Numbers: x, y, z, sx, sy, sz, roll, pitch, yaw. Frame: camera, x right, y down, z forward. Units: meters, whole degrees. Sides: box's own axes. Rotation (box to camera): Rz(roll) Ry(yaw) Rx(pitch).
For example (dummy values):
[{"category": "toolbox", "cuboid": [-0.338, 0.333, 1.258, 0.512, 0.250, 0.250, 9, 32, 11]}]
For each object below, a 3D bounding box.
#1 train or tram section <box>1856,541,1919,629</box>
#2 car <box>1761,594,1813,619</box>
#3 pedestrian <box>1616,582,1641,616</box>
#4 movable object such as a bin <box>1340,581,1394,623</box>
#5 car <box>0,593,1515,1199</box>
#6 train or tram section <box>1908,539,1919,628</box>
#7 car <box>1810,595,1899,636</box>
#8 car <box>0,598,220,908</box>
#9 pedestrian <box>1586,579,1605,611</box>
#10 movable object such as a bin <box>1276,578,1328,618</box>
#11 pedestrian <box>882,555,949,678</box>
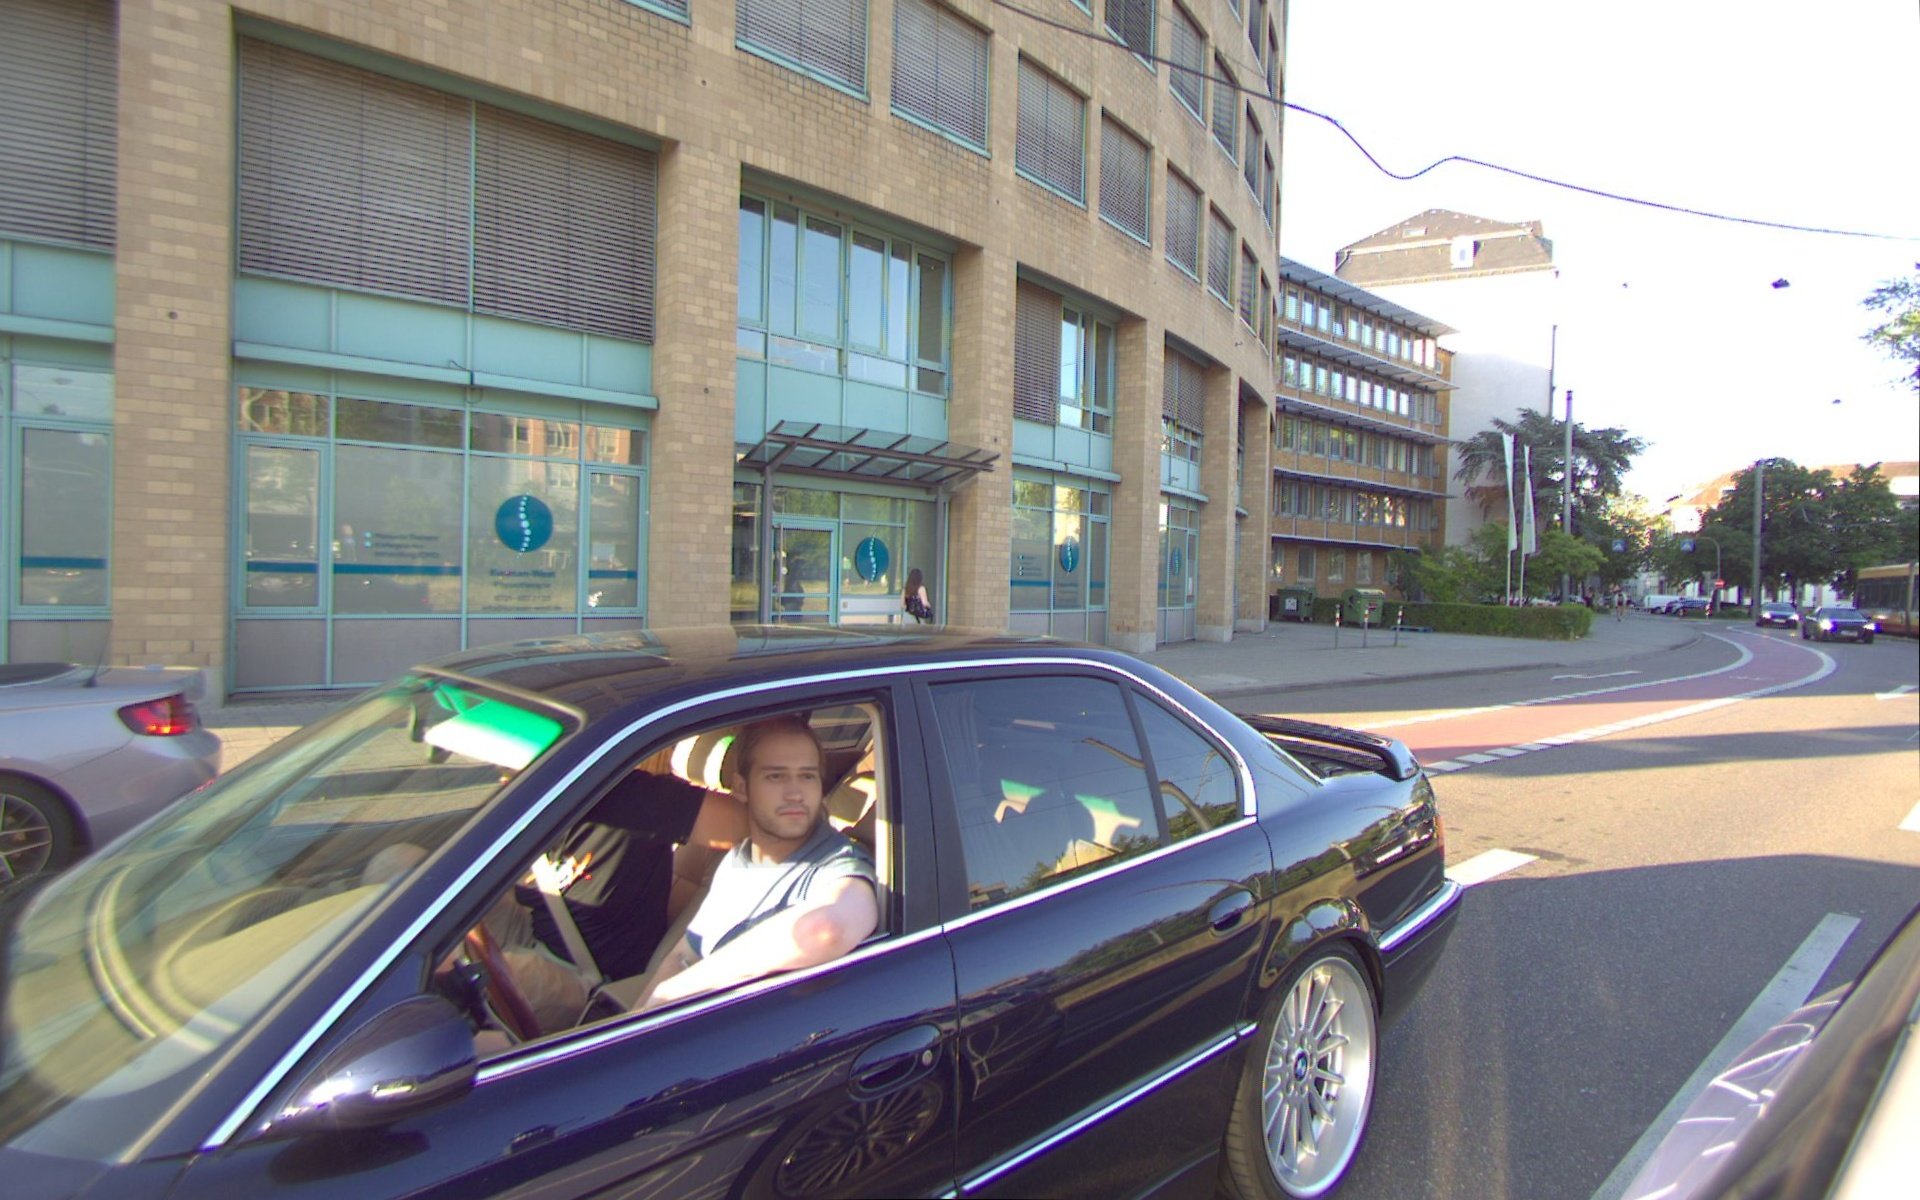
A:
[{"category": "train or tram section", "cuboid": [45.859, -0.680, 48.231, 2.894, 3.785, 12.046, 2, 1, 33]}, {"category": "car", "cuboid": [48.030, 0.365, 58.758, 3.932, 1.405, 1.756, 0, -1, -42]}, {"category": "pedestrian", "cuboid": [38.667, -0.069, 58.544, 0.899, 1.918, 1.121, 1, 1, 16]}, {"category": "movable object such as a bin", "cuboid": [14.868, 0.073, 36.956, 1.311, 1.477, 1.424, 0, 1, -45]}, {"category": "car", "cuboid": [-0.715, 0.701, 2.324, 4.656, 1.402, 1.997, 0, 1, -41]}, {"category": "train or tram section", "cuboid": [39.670, -0.604, 38.248, 2.863, 3.785, 12.053, 2, 1, 30]}, {"category": "car", "cuboid": [35.576, 0.569, 40.360, 1.986, 1.479, 4.095, 2, 1, 33]}, {"category": "car", "cuboid": [-5.912, 0.699, 4.467, 4.153, 1.403, 1.746, 0, 0, -41]}, {"category": "pedestrian", "cuboid": [36.713, -0.277, 58.490, 0.711, 1.830, 0.728, 0, 1, -41]}, {"category": "movable object such as a bin", "cuboid": [13.350, -0.080, 39.501, 1.310, 1.477, 1.425, 0, 1, -43]}, {"category": "pedestrian", "cuboid": [-0.637, 0.218, 14.456, 0.702, 1.702, 0.626, 0, 1, -44]}]
